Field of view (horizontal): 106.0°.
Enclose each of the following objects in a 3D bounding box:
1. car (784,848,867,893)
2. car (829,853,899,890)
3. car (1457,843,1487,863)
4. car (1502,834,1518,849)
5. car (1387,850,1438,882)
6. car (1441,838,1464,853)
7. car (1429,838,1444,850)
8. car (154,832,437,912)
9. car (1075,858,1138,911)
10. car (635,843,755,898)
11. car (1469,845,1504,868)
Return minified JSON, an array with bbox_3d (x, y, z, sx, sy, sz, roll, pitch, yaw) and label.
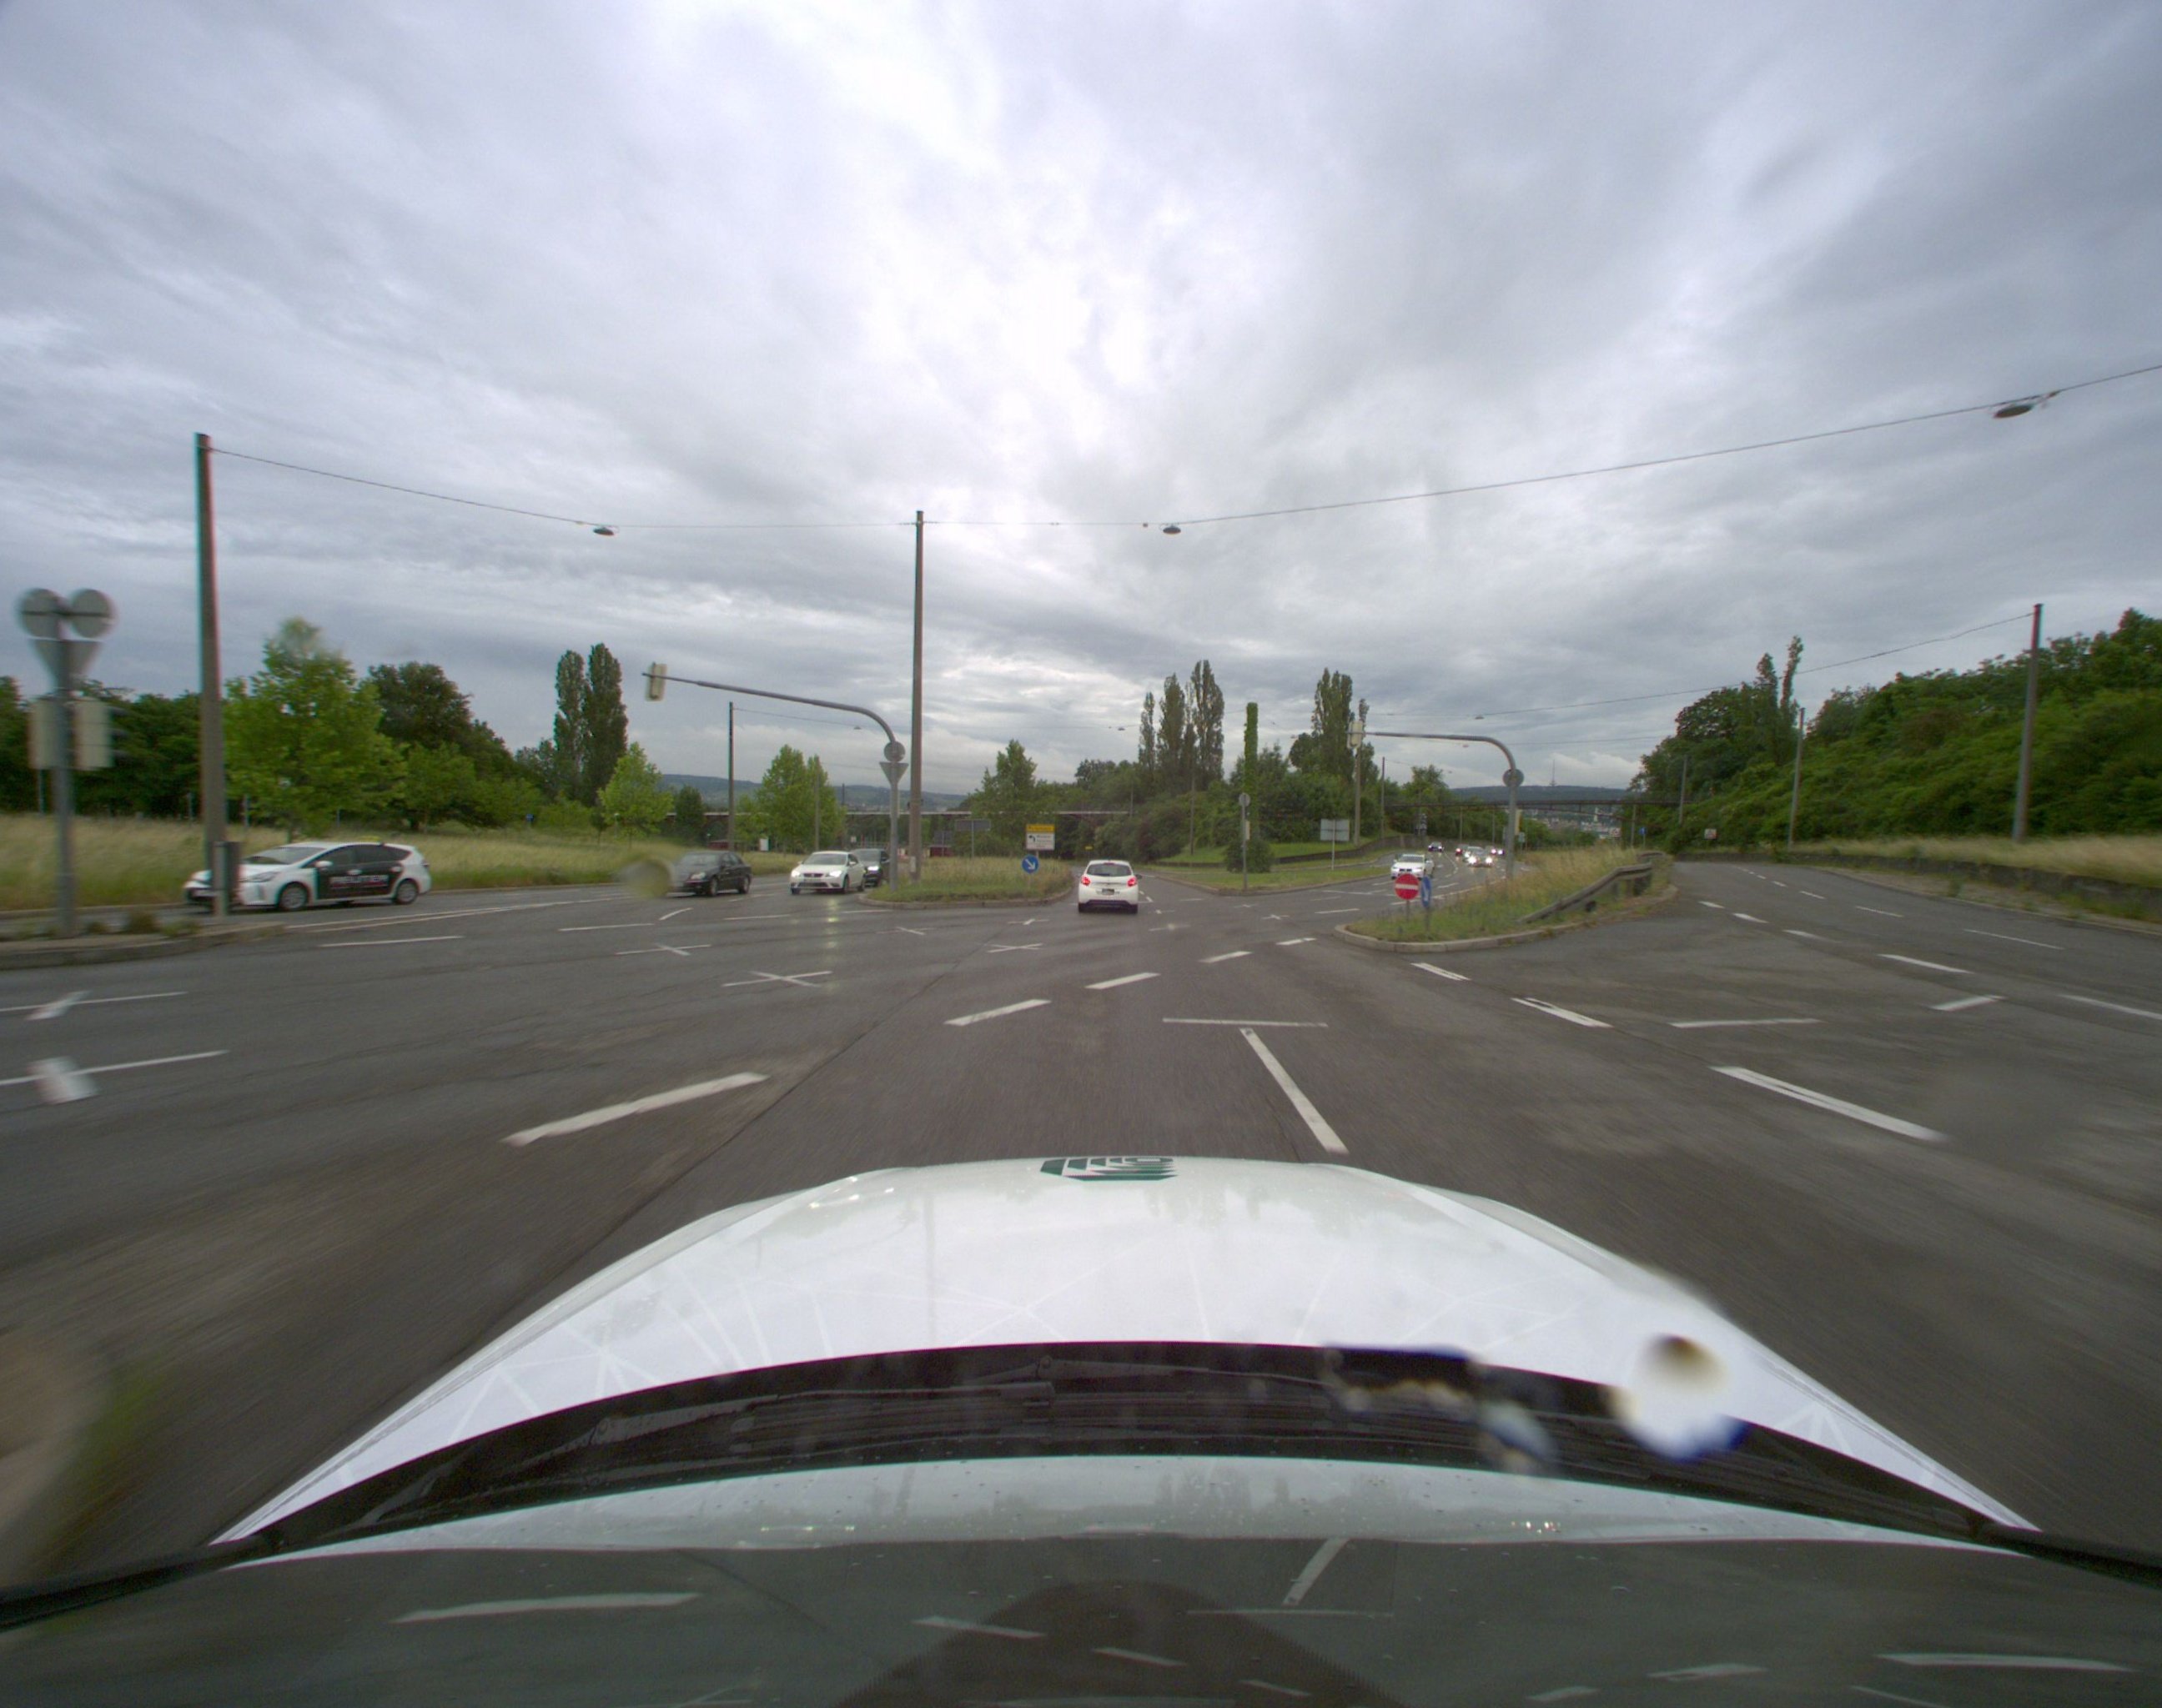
[{"bbox_3d":[-8.607,0.561,27.760,1.734,1.373,3.995,1,-1,-3],"label":"car"},{"bbox_3d":[-9.097,0.700,34.465,1.889,1.324,4.000,1,1,0],"label":"car"},{"bbox_3d":[36.948,-0.096,77.037,1.978,1.617,4.394,2,3,18],"label":"car"},{"bbox_3d":[64.950,-1.935,123.341,2.055,2.083,4.399,3,3,26],"label":"car"},{"bbox_3d":[19.633,0.666,48.179,1.975,1.617,4.026,3,4,34],"label":"car"},{"bbox_3d":[45.002,-1.043,98.765,1.978,1.617,4.394,2,3,18],"label":"car"},{"bbox_3d":[52.173,-1.478,119.471,1.861,1.653,4.150,3,3,26],"label":"car"},{"bbox_3d":[-18.062,0.422,19.138,1.878,1.611,4.679,1,-1,3],"label":"car"},{"bbox_3d":[0.769,0.855,23.985,1.702,1.440,3.692,0,-1,2],"label":"car"},{"bbox_3d":[-11.795,0.511,25.196,1.891,1.537,3.995,1,-1,-3],"label":"car"},{"bbox_3d":[33.182,0.149,66.580,1.975,1.617,4.400,3,4,34],"label":"car"}]
